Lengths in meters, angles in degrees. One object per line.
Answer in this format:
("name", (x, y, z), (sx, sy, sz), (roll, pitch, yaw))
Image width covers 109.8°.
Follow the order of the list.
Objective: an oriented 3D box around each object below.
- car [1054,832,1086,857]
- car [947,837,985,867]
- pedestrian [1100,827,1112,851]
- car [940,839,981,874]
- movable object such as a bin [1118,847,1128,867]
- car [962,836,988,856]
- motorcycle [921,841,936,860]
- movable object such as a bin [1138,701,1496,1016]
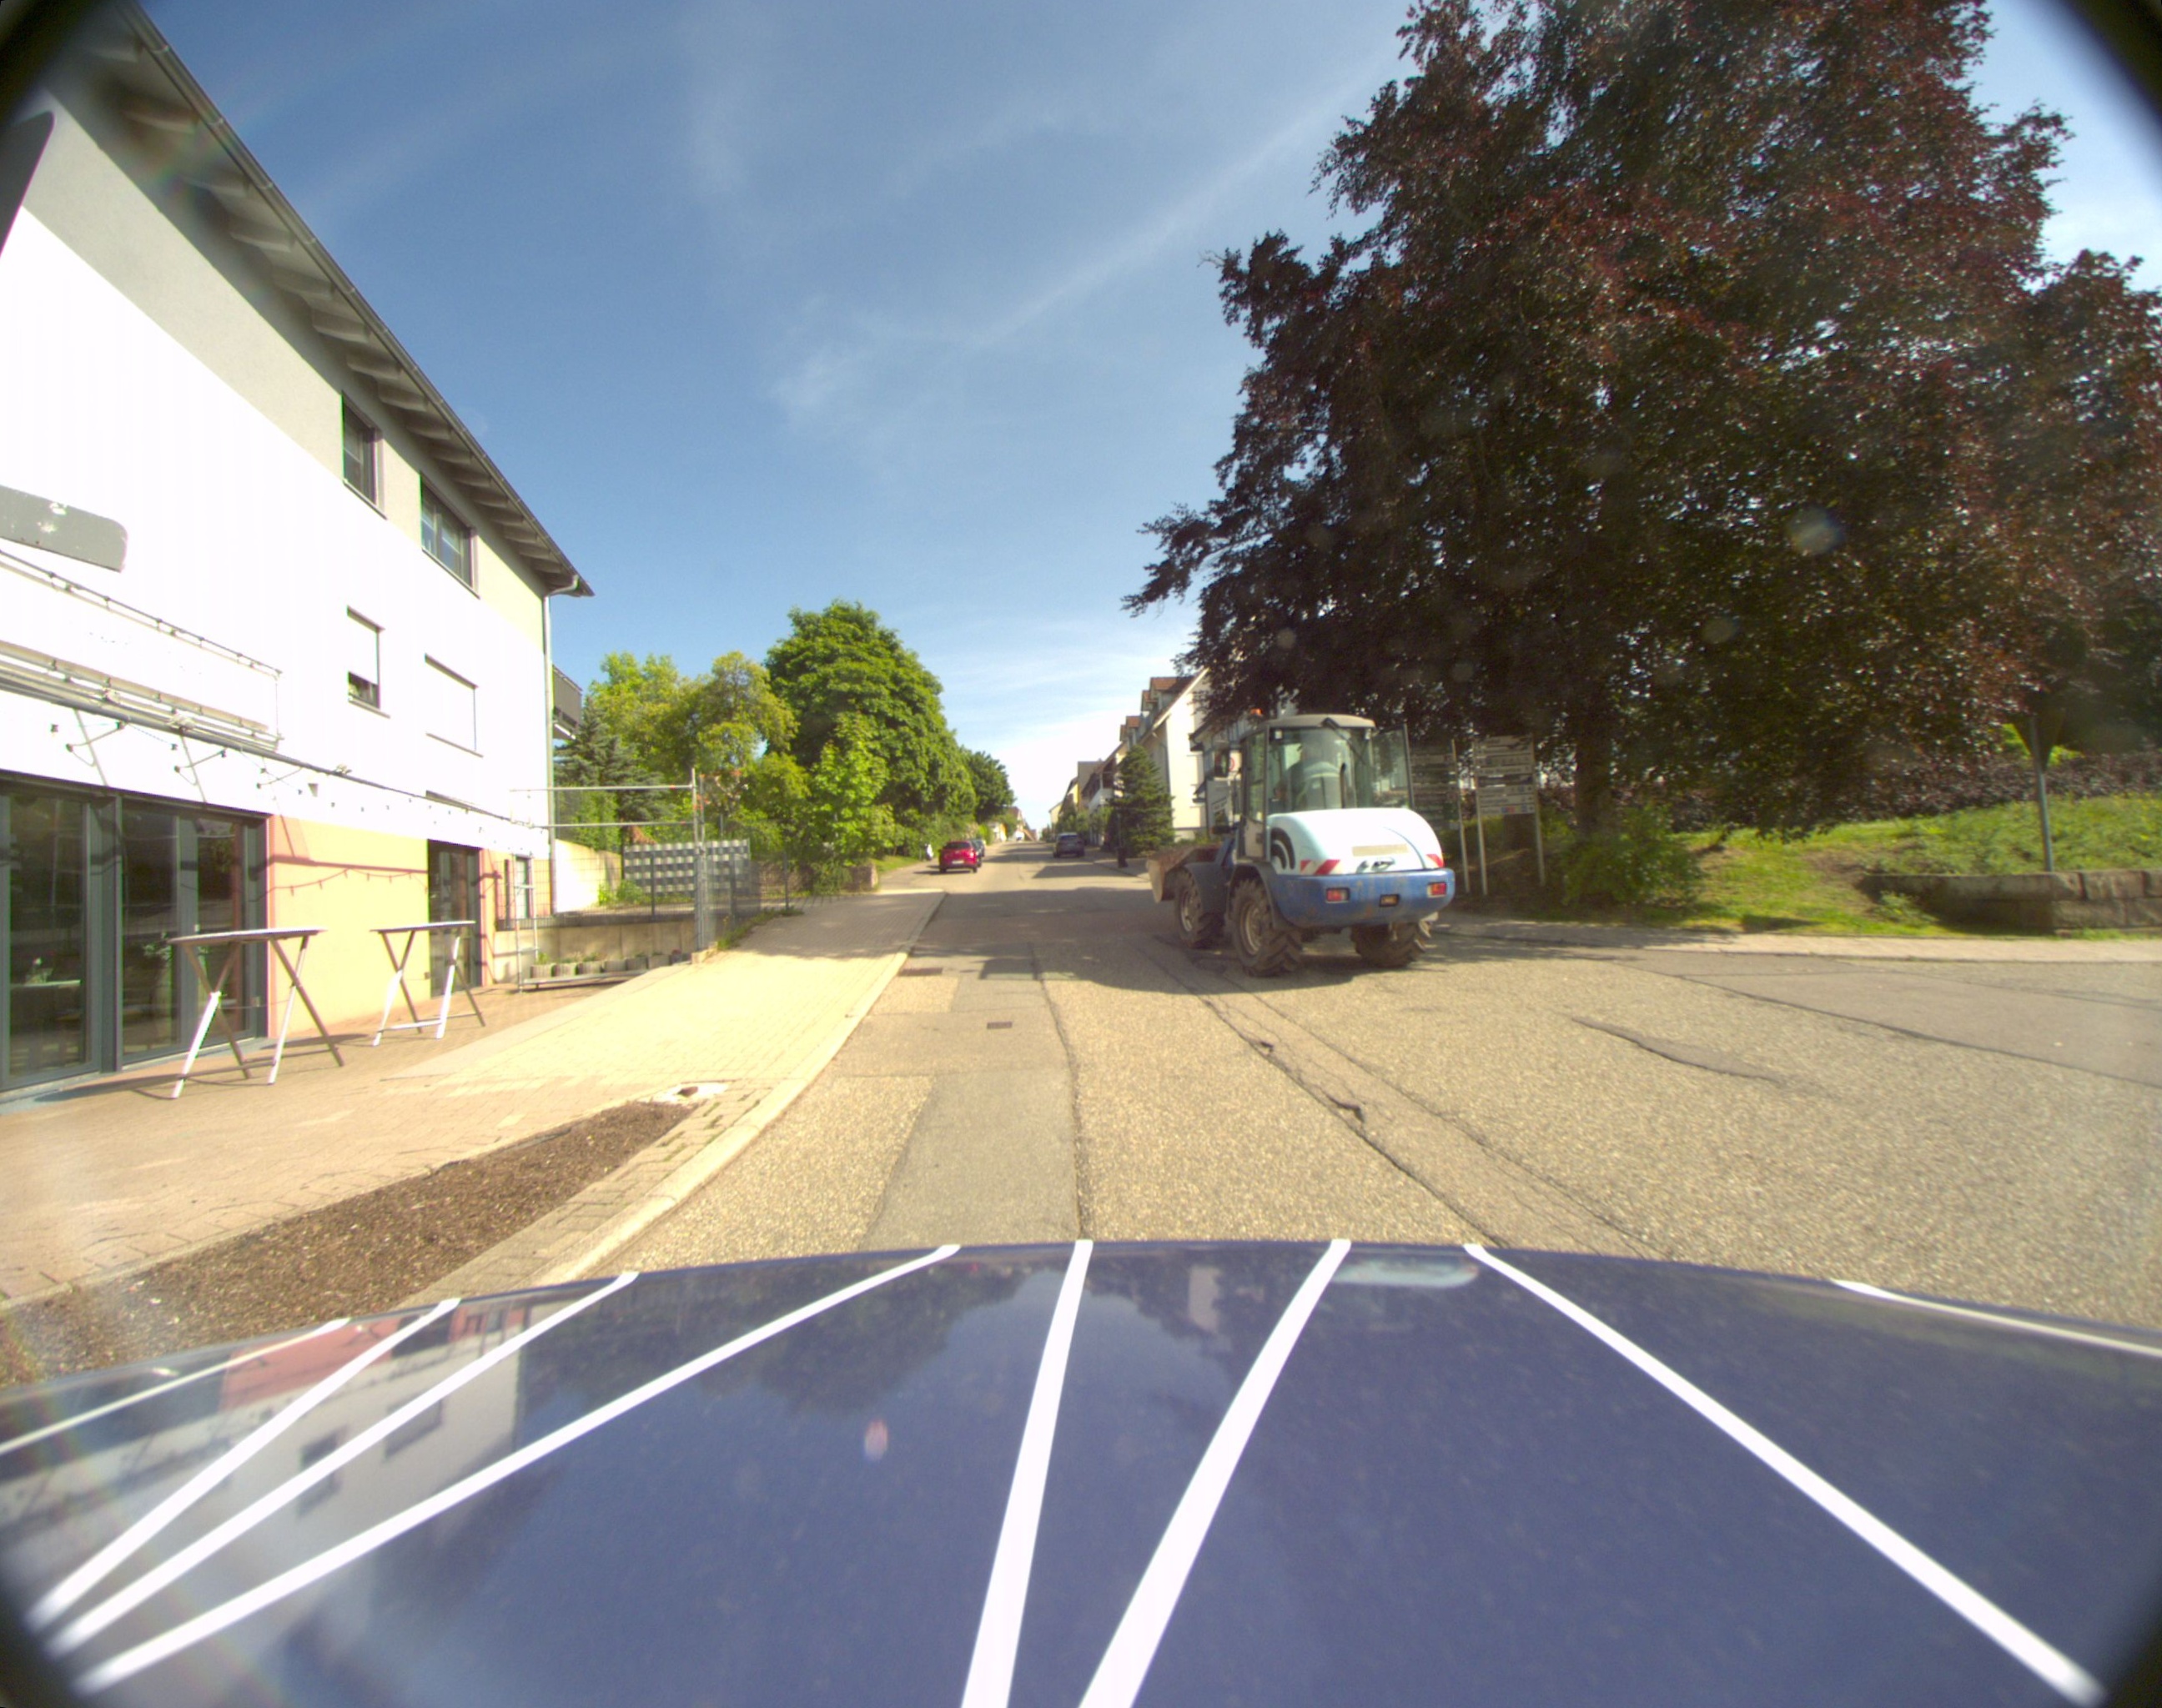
("car", (-0.774, -0.669, 52.202), (1.808, 1.592, 3.807), (-2, 2, -6))
("car", (-6.161, -0.125, 40.992), (1.776, 1.462, 3.807), (-2, 2, -6))
("pedestrian", (1.695, -1.003, 51.118), (0.667, 1.566, 0.781), (-2, 2, 10))
("car", (-5.553, 0.063, 35.417), (1.624, 1.490, 3.807), (-2, 2, -6))
("movable object such as a bin", (1.845, 0.116, 33.209), (0.351, 0.859, 0.395), (-2, 2, -5))
("car", (-8.249, -0.673, 59.381), (1.776, 1.462, 3.807), (-2, 2, -6))
("motorcycle", (-10.028, -0.233, 49.949), (0.785, 1.175, 2.186), (-2, 2, -8))
("movable object such as a bin", (2.366, -0.053, 9.313), (2.000, 2.754, 5.098), (-2, 2, -11))
